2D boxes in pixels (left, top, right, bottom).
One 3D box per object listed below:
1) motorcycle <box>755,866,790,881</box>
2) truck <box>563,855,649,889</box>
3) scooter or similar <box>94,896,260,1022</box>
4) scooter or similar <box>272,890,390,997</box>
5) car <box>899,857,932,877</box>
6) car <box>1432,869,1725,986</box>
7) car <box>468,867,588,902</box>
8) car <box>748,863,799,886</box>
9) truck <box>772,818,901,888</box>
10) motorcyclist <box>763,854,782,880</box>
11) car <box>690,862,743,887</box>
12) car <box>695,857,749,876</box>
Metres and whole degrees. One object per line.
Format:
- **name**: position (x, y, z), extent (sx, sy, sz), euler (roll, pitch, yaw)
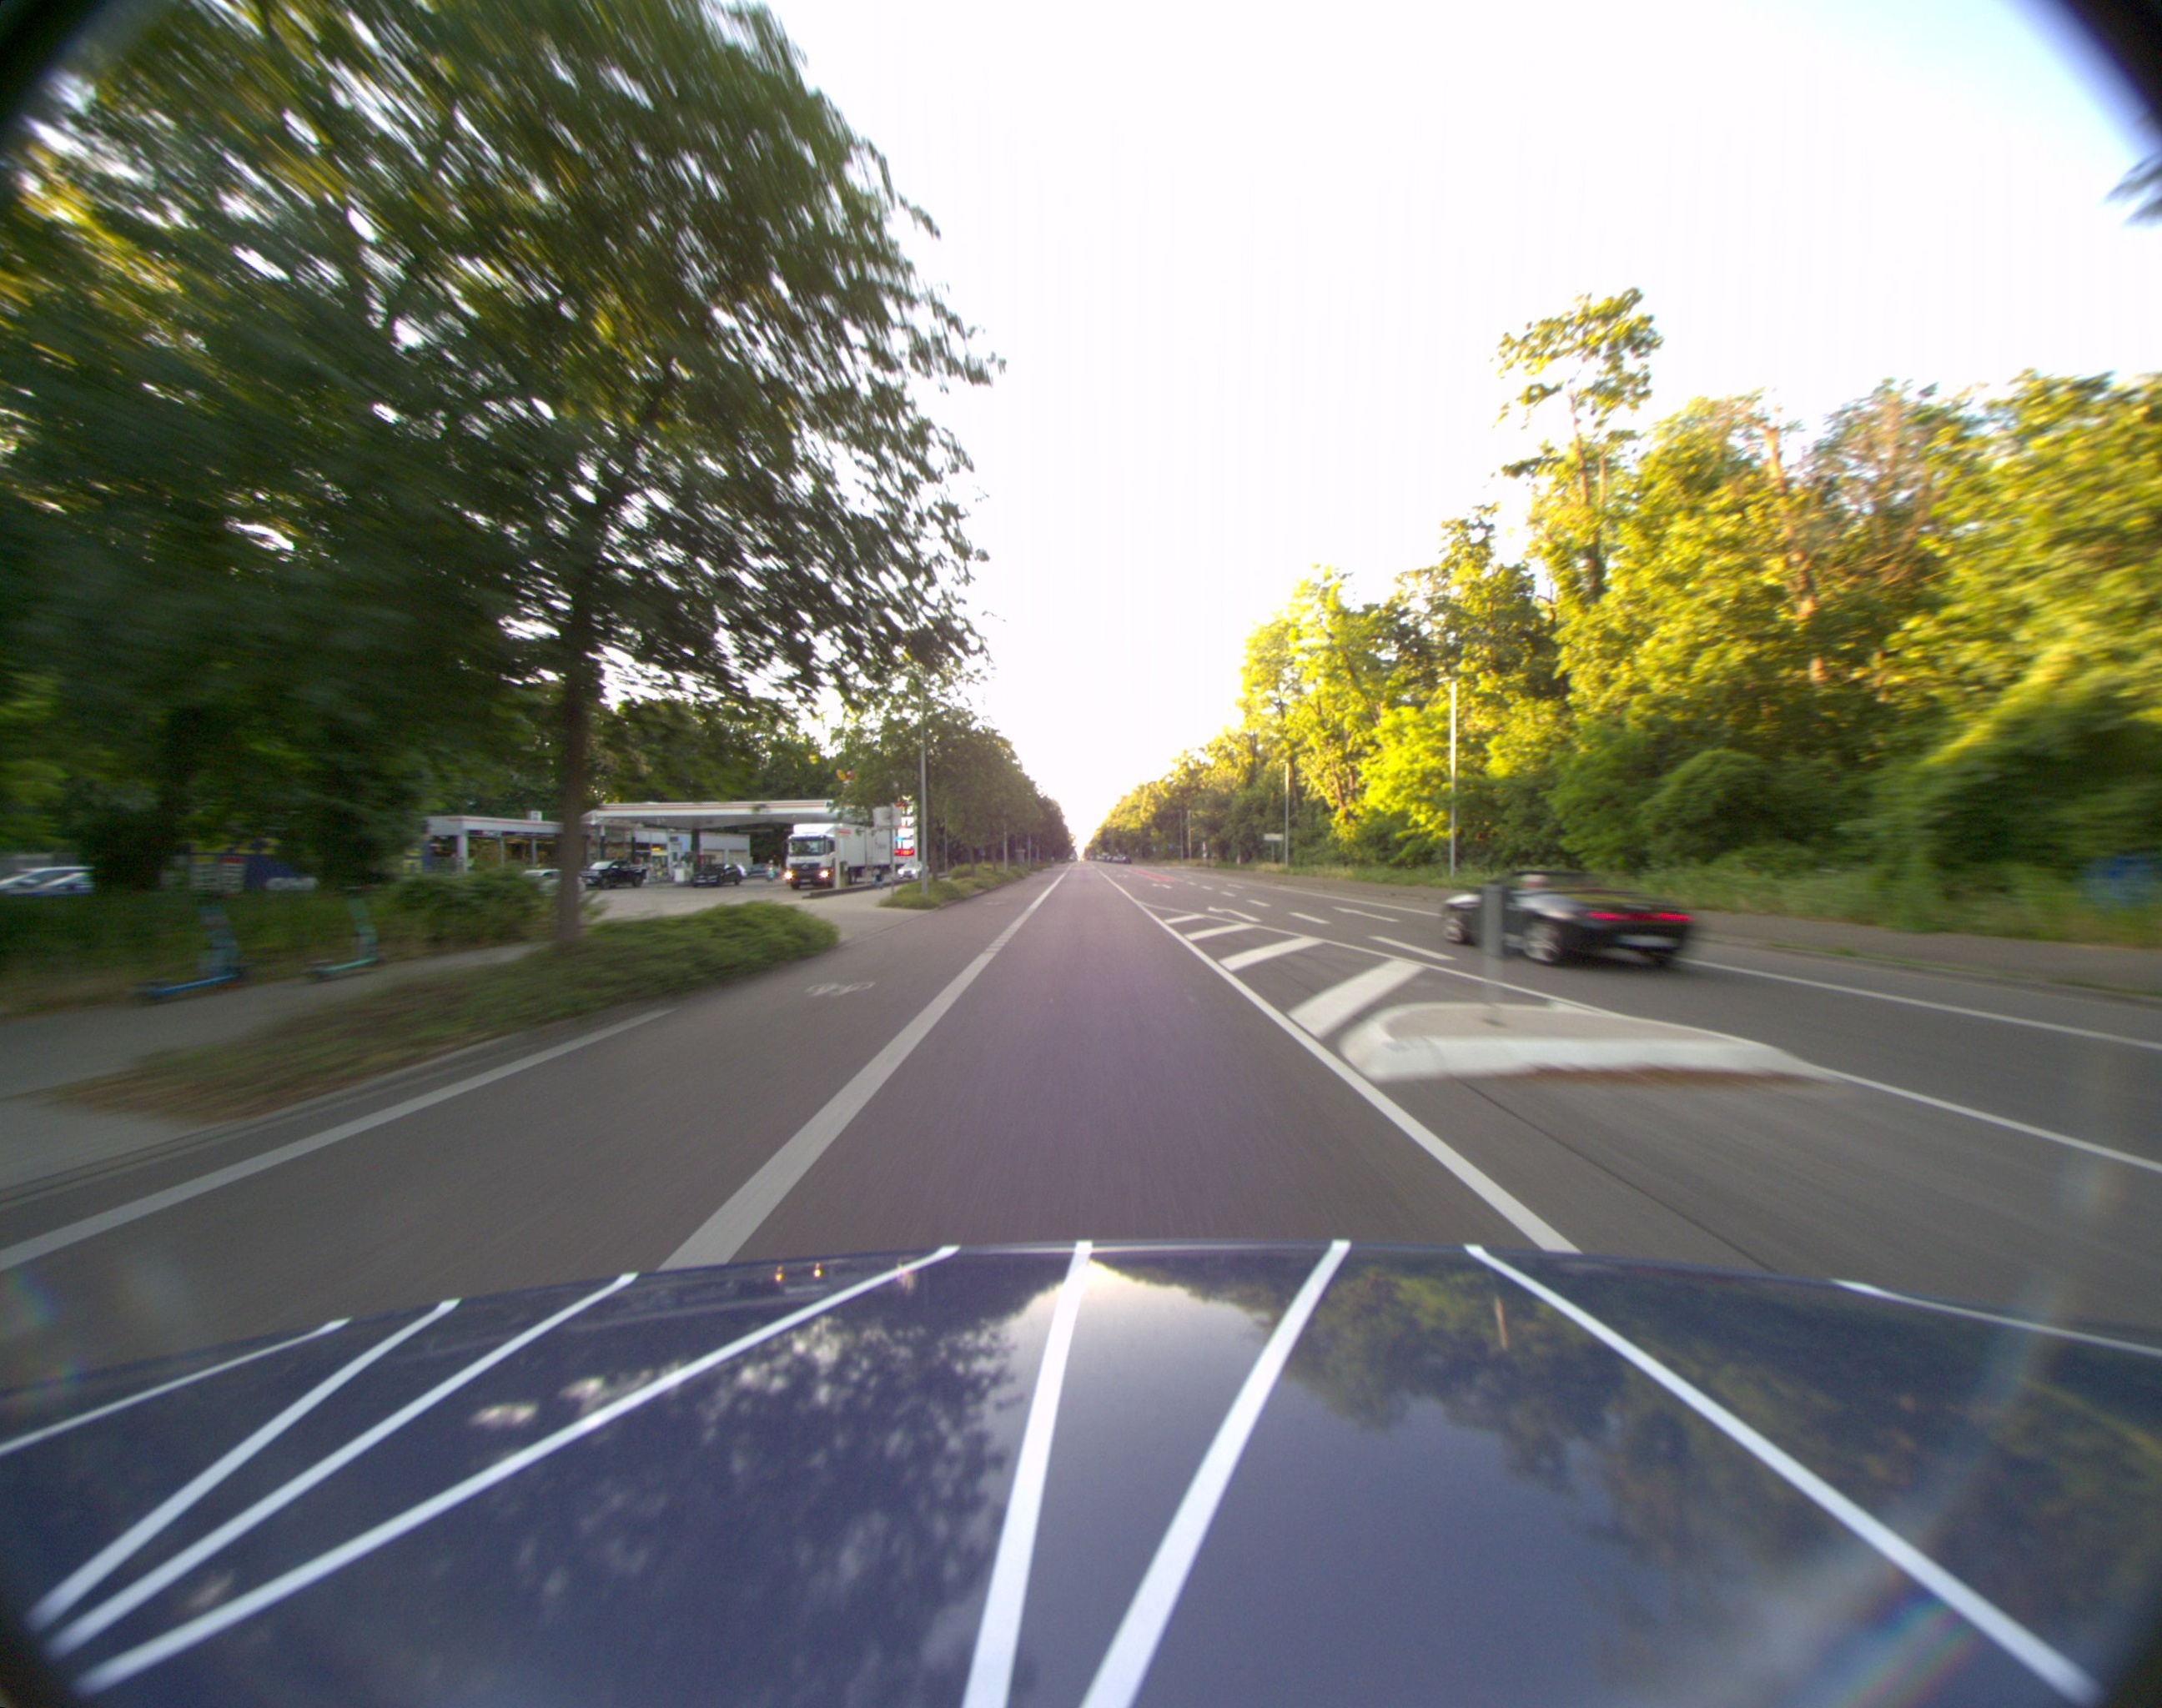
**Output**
- **motorcycle**: position (-24.596, 1.560, 60.697), extent (1.137, 1.018, 4.000), euler (-2, 0, 1)
- **truck**: position (-29.719, 1.047, 47.807), extent (1.998, 1.930, 5.204), euler (-2, 0, 1)
- **scooter or similar**: position (-10.276, 1.147, 8.696), extent (0.483, 1.274, 1.231), euler (0, 0, -5)
- **scooter or similar**: position (-9.858, 1.138, 10.038), extent (0.483, 1.274, 1.139), euler (0, 0, -5)
- **car**: position (-14.534, 1.111, 67.064), extent (1.999, 1.581, 4.709), euler (-2, 0, -2)
- **car**: position (6.935, 0.930, 11.183), extent (1.754, 1.299, 4.000), euler (0, 0, 1)
- **car**: position (-26.538, 1.422, 36.694), extent (1.729, 1.406, 4.737), euler (2, 1, 11)
- **car**: position (-28.695, 1.895, 70.981), extent (4.001, 2.002, 1.831), euler (-2, 1, -11)
- **truck**: position (-15.203, -0.081, 49.356), extent (3.226, 3.707, 15.883), euler (-2, 0, -1)
- **motorcyclist**: position (-24.598, 1.036, 60.596), extent (1.009, 2.002, 1.075), euler (-2, 1, 0)
- **car**: position (-23.469, 1.293, 49.088), extent (1.673, 1.499, 3.999), euler (-2, 0, -4)
- **car**: position (-29.916, 1.072, 63.333), extent (4.006, 1.514, 1.996), euler (1, -1, -28)
